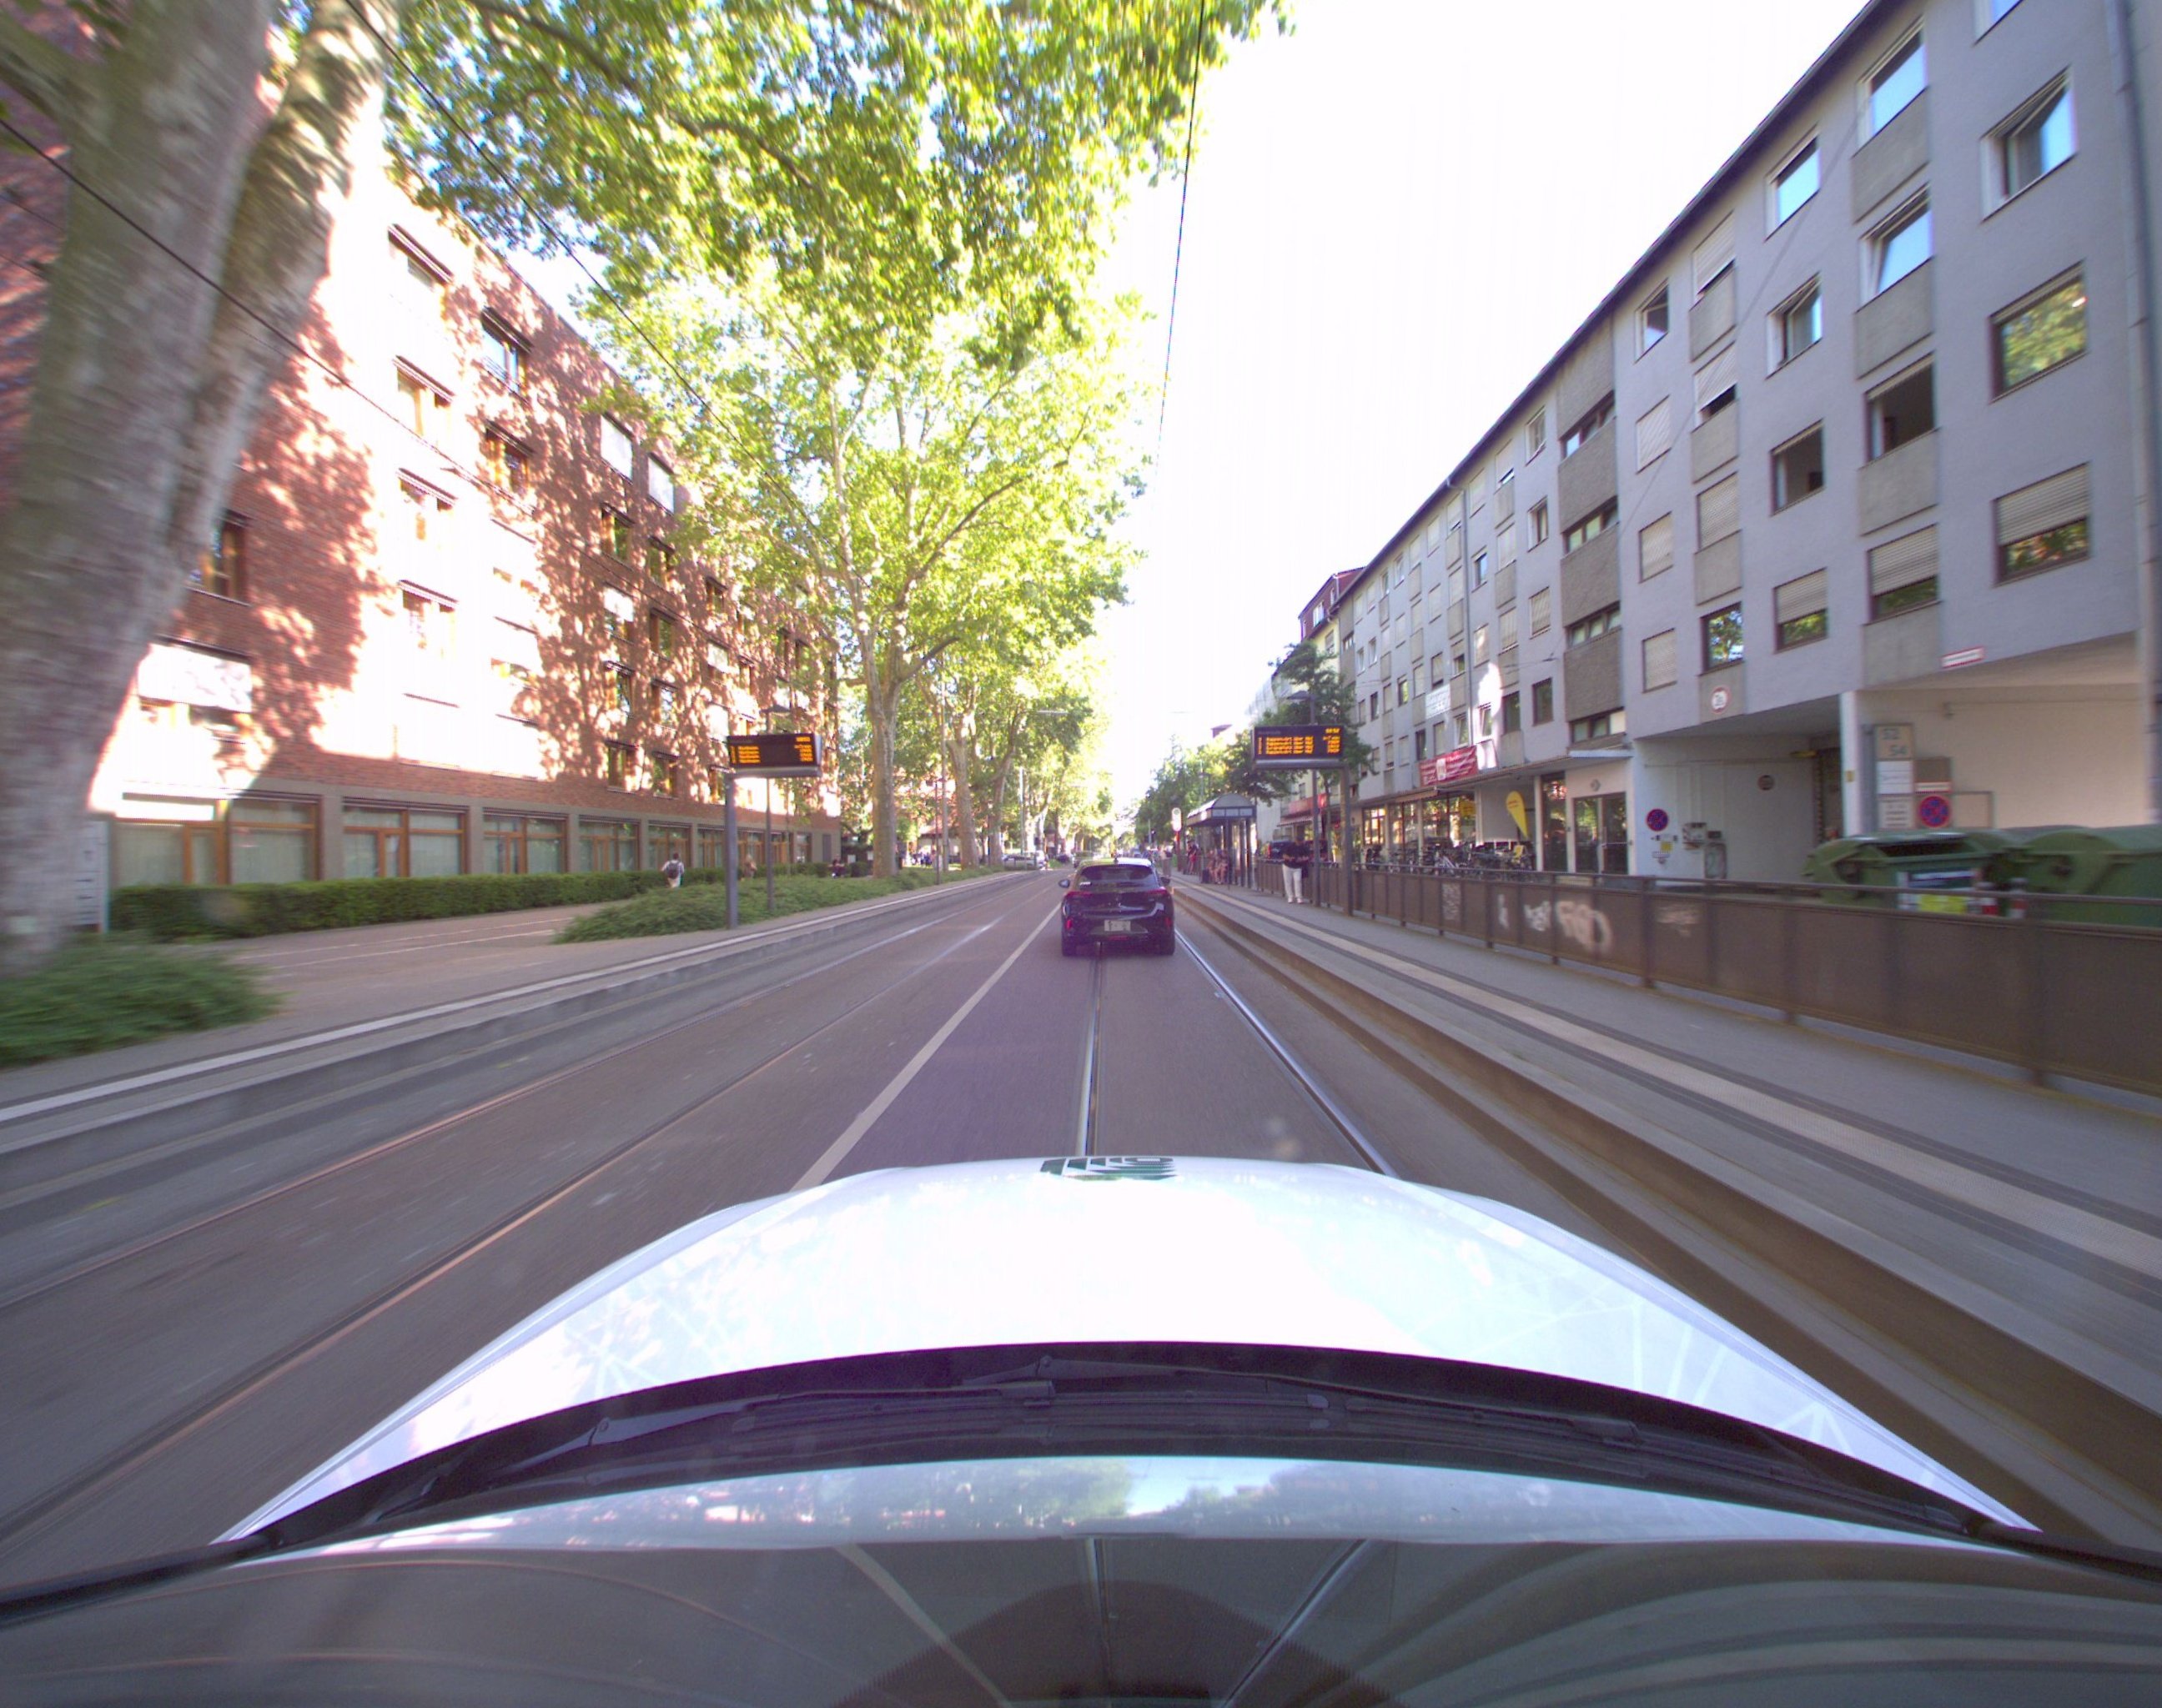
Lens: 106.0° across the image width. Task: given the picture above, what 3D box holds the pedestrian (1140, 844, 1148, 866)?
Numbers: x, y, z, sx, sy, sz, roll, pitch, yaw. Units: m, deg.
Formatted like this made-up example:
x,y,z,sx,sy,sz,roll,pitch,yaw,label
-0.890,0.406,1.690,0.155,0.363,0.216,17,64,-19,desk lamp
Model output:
x,y,z,sx,sy,sz,roll,pitch,yaw,label
5.689,0.074,73.239,0.671,2.013,0.703,0,0,8,pedestrian

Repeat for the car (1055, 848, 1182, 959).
x,y,z,sx,sy,sz,roll,pitch,yaw,label
0.523,0.713,13.360,1.754,1.508,3.682,-2,0,0,car

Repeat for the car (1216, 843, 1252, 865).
x,y,z,sx,sy,sz,roll,pitch,yaw,label
10.904,0.040,58.228,1.986,1.486,4.002,-1,0,2,car

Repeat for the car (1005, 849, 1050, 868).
x,y,z,sx,sy,sz,roll,pitch,yaw,label
-5.324,0.437,80.616,4.378,1.851,1.996,-1,-1,-6,car

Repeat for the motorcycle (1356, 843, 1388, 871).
x,y,z,sx,sy,sz,roll,pitch,yaw,label
14.209,0.147,39.789,0.888,1.280,2.044,-1,0,2,motorcycle

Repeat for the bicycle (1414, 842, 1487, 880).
x,y,z,sx,sy,sz,roll,pitch,yaw,label
11.733,0.229,26.004,0.611,1.136,2.912,-1,0,-9,bicycle

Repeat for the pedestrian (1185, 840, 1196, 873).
x,y,z,sx,sy,sz,roll,pitch,yaw,label
5.823,0.134,43.276,0.529,1.709,0.596,-1,-1,4,pedestrian

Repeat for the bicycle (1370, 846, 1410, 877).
x,y,z,sx,sy,sz,roll,pitch,yaw,label
11.893,0.288,31.410,0.596,1.136,2.201,-1,0,-4,bicycle

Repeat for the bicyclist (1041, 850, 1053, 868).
x,y,z,sx,sy,sz,roll,pitch,yaw,label
-3.158,0.470,76.324,0.936,1.703,1.154,-1,-1,5,bicyclist

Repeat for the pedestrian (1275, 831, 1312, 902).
x,y,z,sx,sy,sz,roll,pitch,yaw,label
4.858,0.273,18.690,0.628,1.576,0.871,1,0,2,pedestrian

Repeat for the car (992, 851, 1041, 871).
x,y,z,sx,sy,sz,roll,pitch,yaw,label
-5.503,0.586,69.829,4.108,1.701,1.880,-1,0,-6,car

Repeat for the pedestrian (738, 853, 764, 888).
x,y,z,sx,sy,sz,roll,pitch,yaw,label
-15.141,0.748,37.385,0.772,1.605,0.946,-1,-1,2,pedestrian

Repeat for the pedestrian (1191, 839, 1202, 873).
x,y,z,sx,sy,sz,roll,pitch,yaw,label
6.024,0.101,42.529,0.529,1.763,0.662,-1,-1,4,pedestrian

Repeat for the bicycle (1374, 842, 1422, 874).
x,y,z,sx,sy,sz,roll,pitch,yaw,label
11.637,0.151,30.006,0.597,1.136,2.197,-1,0,-9,bicycle

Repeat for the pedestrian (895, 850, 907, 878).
x,y,z,sx,sy,sz,roll,pitch,yaw,label
-12.607,0.709,57.038,0.493,1.950,0.677,-1,-1,14,pedestrian

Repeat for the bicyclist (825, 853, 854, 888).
x,y,z,sx,sy,sz,roll,pitch,yaw,label
-10.472,0.719,35.356,0.951,1.491,0.838,-1,-1,1,bicyclist

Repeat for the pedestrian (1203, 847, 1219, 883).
x,y,z,sx,sy,sz,roll,pitch,yaw,label
4.822,0.403,30.190,0.501,1.304,0.428,-1,-1,-3,pedestrian

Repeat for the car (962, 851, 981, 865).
x,y,z,sx,sy,sz,roll,pitch,yaw,label
-15.267,0.555,113.379,1.986,2.014,4.002,-1,0,2,car

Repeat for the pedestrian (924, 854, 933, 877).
x,y,z,sx,sy,sz,roll,pitch,yaw,label
-13.176,0.989,70.252,0.670,1.950,0.498,0,0,-2,pedestrian

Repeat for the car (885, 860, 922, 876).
x,y,z,sx,sy,sz,roll,pitch,yaw,label
-22.946,1.824,105.475,4.234,2.014,2.001,-1,-1,1,car

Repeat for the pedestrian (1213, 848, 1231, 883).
x,y,z,sx,sy,sz,roll,pitch,yaw,label
5.046,0.404,29.130,0.533,1.230,0.510,-1,-1,-3,pedestrian

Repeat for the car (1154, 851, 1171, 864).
x,y,z,sx,sy,sz,roll,pitch,yaw,label
10.945,0.451,110.048,1.986,1.632,4.002,-1,0,2,car

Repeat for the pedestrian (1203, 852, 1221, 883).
x,y,z,sx,sy,sz,roll,pitch,yaw,label
4.779,0.484,29.656,0.533,1.099,0.550,-1,-1,-3,pedestrian

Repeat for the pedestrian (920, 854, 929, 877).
x,y,z,sx,sy,sz,roll,pitch,yaw,label
-13.681,1.007,71.105,0.670,1.950,0.498,0,0,-2,pedestrian

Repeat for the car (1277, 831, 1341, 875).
x,y,z,sx,sy,sz,roll,pitch,yaw,label
10.803,-0.022,38.848,1.986,1.952,4.001,-1,0,1,car

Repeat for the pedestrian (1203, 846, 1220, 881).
x,y,z,sx,sy,sz,roll,pitch,yaw,label
4.911,0.343,30.741,0.533,1.304,0.550,-1,-1,-3,pedestrian

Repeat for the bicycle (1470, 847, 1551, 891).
x,y,z,sx,sy,sz,roll,pitch,yaw,label
11.673,0.395,22.236,0.621,1.136,2.431,-1,0,-9,bicycle

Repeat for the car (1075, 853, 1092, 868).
x,y,z,sx,sy,sz,roll,pitch,yaw,label
0.255,0.671,84.033,1.740,1.544,3.999,-1,0,0,car

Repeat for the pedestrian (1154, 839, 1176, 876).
x,y,z,sx,sy,sz,roll,pitch,yaw,label
3.881,0.164,37.655,0.742,1.709,0.768,-1,-1,36,pedestrian

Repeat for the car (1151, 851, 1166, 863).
x,y,z,sx,sy,sz,roll,pitch,yaw,label
11.034,0.487,116.153,1.986,1.632,4.002,-1,0,2,car

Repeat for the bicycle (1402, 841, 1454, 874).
x,y,z,sx,sy,sz,roll,pitch,yaw,label
12.311,0.137,28.982,0.597,1.136,2.197,-1,0,-9,bicycle

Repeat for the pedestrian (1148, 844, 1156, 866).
x,y,z,sx,sy,sz,roll,pitch,yaw,label
6.346,0.079,72.735,0.670,2.013,0.704,0,0,13,pedestrian

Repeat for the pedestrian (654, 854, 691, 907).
x,y,z,sx,sy,sz,roll,pitch,yaw,label
-13.278,0.851,26.481,0.732,1.672,0.861,-1,-1,2,pedestrian

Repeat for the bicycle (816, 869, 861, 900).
x,y,z,sx,sy,sz,roll,pitch,yaw,label
-10.453,1.312,35.283,0.951,1.240,2.979,-1,0,2,bicycle

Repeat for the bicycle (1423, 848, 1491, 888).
x,y,z,sx,sy,sz,roll,pitch,yaw,label
11.335,0.404,24.668,0.602,1.136,2.427,-1,0,-9,bicycle

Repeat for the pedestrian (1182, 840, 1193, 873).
x,y,z,sx,sy,sz,roll,pitch,yaw,label
5.459,0.124,41.779,0.529,1.709,0.753,-1,-1,4,pedestrian

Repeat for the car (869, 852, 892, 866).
x,y,z,sx,sy,sz,roll,pitch,yaw,label
-27.778,0.697,112.997,1.986,2.014,4.002,-1,0,2,car

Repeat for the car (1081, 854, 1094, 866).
x,y,z,sx,sy,sz,roll,pitch,yaw,label
0.975,0.854,116.157,1.779,1.693,3.999,-1,0,0,car

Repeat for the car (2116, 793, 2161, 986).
x,y,z,sx,sy,sz,roll,pitch,yaw,label
9.894,0.273,4.887,1.850,1.615,4.399,-1,0,2,car

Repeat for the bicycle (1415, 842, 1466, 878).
x,y,z,sx,sy,sz,roll,pitch,yaw,label
12.040,0.203,27.360,0.410,1.136,2.197,-1,0,-9,bicycle

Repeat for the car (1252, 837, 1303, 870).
x,y,z,sx,sy,sz,roll,pitch,yaw,label
10.960,-0.015,45.731,1.986,1.797,4.001,-1,0,1,car

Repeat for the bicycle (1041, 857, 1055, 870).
x,y,z,sx,sy,sz,roll,pitch,yaw,label
-3.093,0.871,77.109,0.950,1.240,2.981,-1,0,5,bicycle
